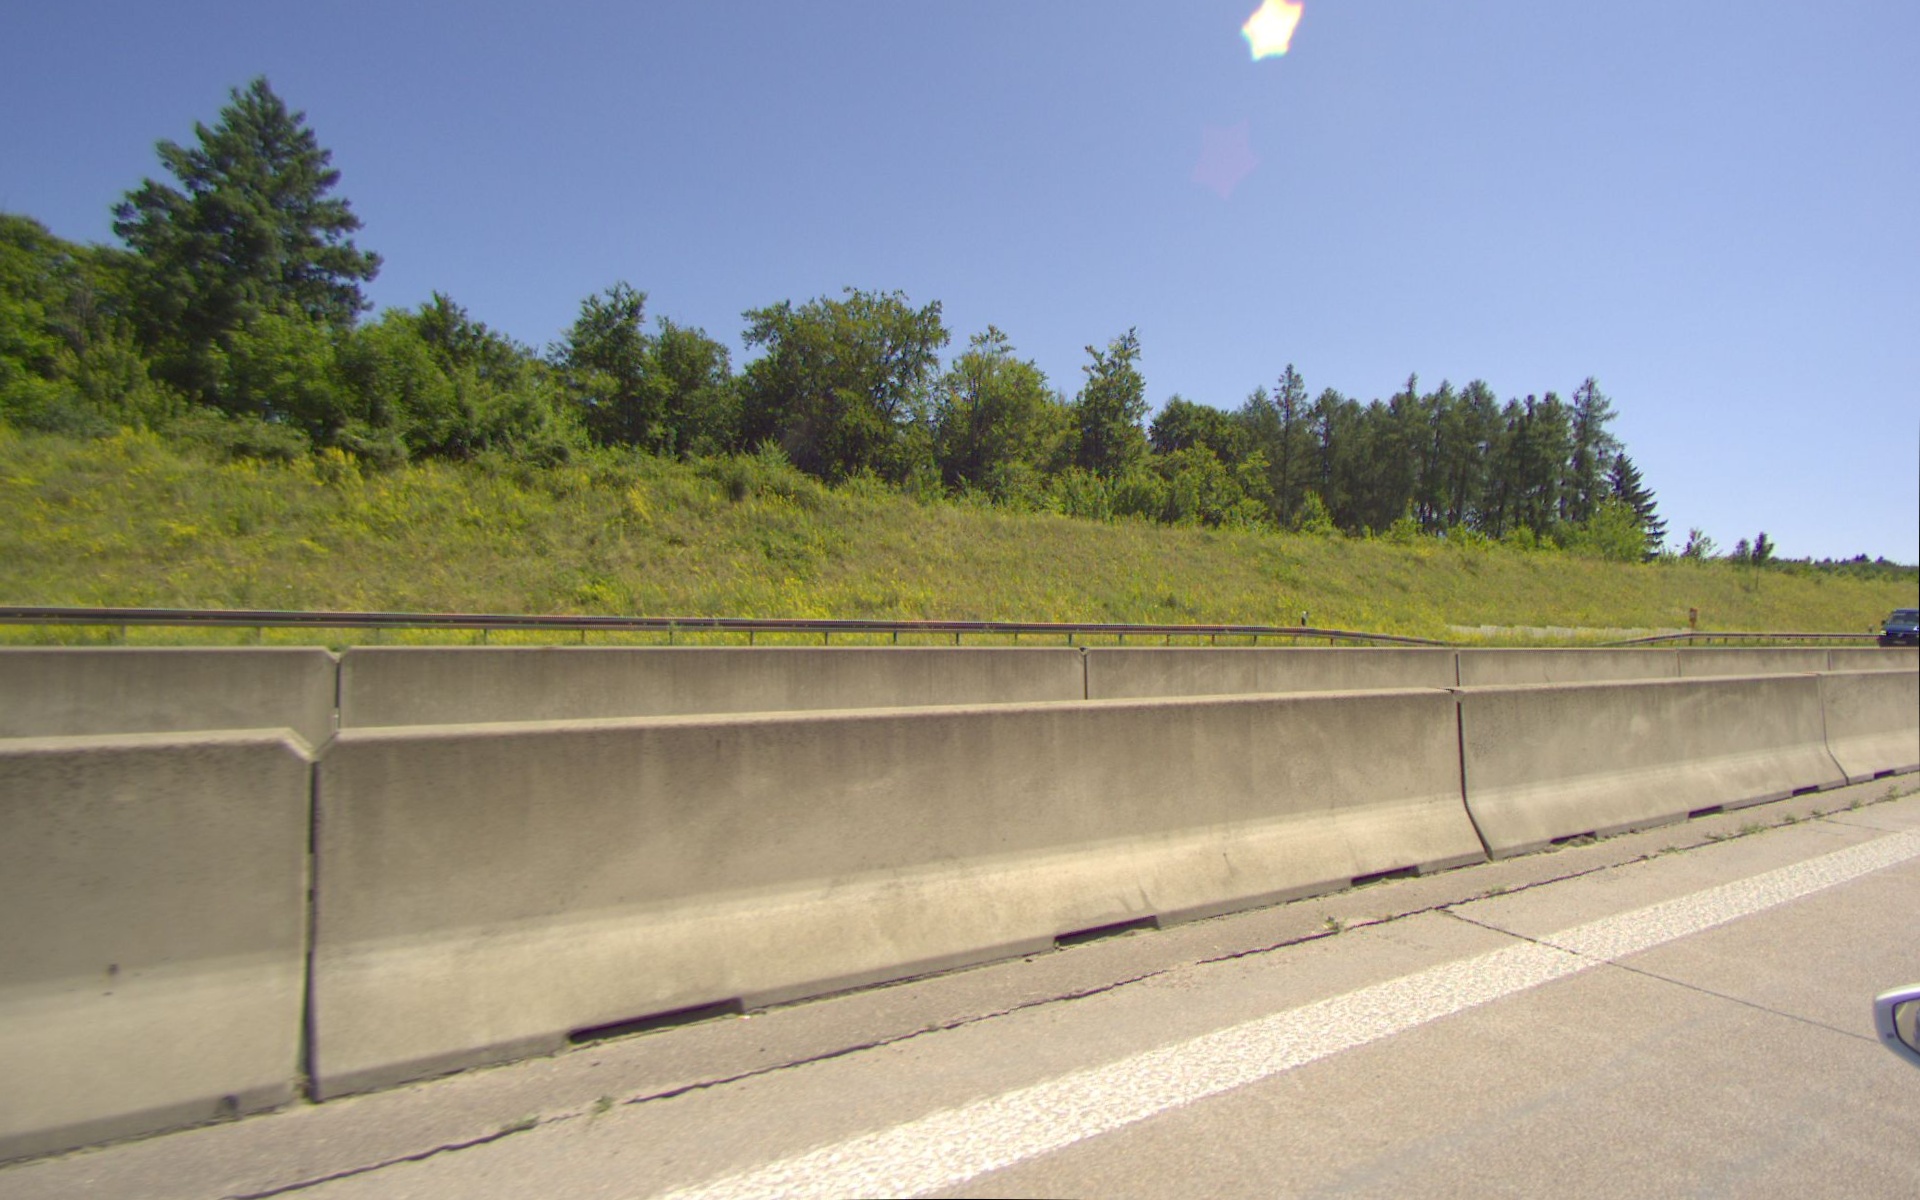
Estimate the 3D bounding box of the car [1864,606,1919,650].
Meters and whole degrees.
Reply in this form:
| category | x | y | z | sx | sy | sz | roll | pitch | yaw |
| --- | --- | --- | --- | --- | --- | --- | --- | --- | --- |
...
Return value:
| category | x | y | z | sx | sy | sz | roll | pitch | yaw |
| --- | --- | --- | --- | --- | --- | --- | --- | --- | --- |
| car | 51.161 | 1.496 | 53.765 | 6.388 | 2.239 | 2.467 | 1 | 0 | -32 |
